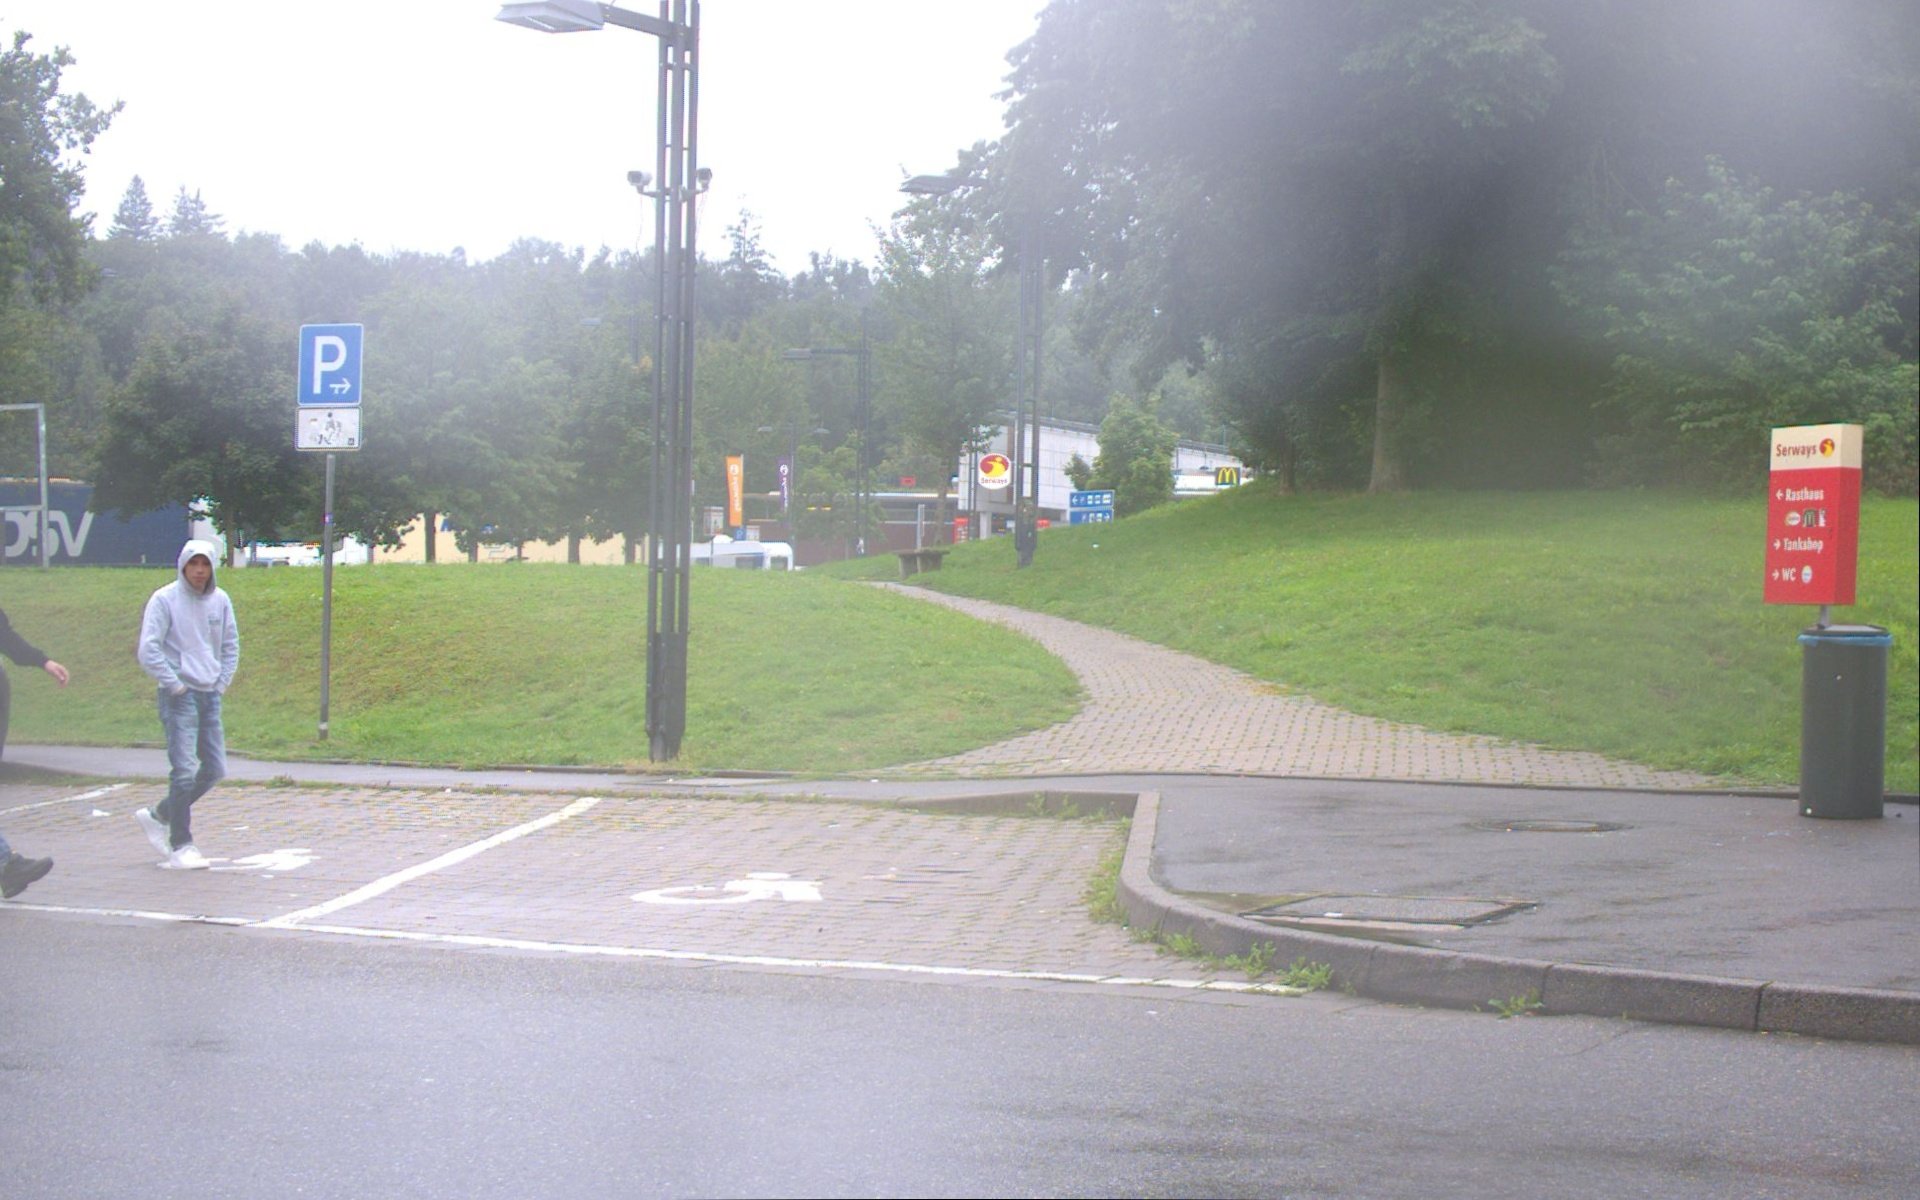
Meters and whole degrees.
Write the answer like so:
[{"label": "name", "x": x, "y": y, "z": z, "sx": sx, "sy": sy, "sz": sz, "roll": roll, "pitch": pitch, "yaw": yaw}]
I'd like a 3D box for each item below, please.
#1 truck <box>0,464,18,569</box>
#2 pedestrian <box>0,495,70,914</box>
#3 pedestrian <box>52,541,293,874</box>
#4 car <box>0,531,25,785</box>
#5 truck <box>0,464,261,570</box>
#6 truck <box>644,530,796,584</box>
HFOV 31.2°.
[{"label": "truck", "x": -28.612, "y": -2.347, "z": 94.647, "sx": 2.189, "sy": 2.910, "sz": 5.380, "roll": 1, "pitch": 1, "yaw": 24}, {"label": "pedestrian", "x": -4.676, "y": 0.461, "z": 15.815, "sx": 0.891, "sy": 1.880, "sz": 0.703, "roll": 1, "pitch": 0, "yaw": 11}, {"label": "pedestrian", "x": -3.967, "y": 0.522, "z": 17.352, "sx": 0.951, "sy": 1.626, "sz": 0.703, "roll": 1, "pitch": 0, "yaw": 14}, {"label": "car", "x": -7.812, "y": 0.452, "z": 21.480, "sx": 2.018, "sy": 1.705, "sz": 4.341, "roll": -1, "pitch": 1, "yaw": 12}, {"label": "truck", "x": -25.473, "y": -2.373, "z": 101.617, "sx": 2.188, "sy": 2.910, "sz": 13.082, "roll": 1, "pitch": 1, "yaw": 24}, {"label": "truck", "x": -9.335, "y": -1.671, "z": 133.794, "sx": 5.413, "sy": 2.007, "sz": 2.364, "roll": 1, "pitch": 1, "yaw": 25}]
